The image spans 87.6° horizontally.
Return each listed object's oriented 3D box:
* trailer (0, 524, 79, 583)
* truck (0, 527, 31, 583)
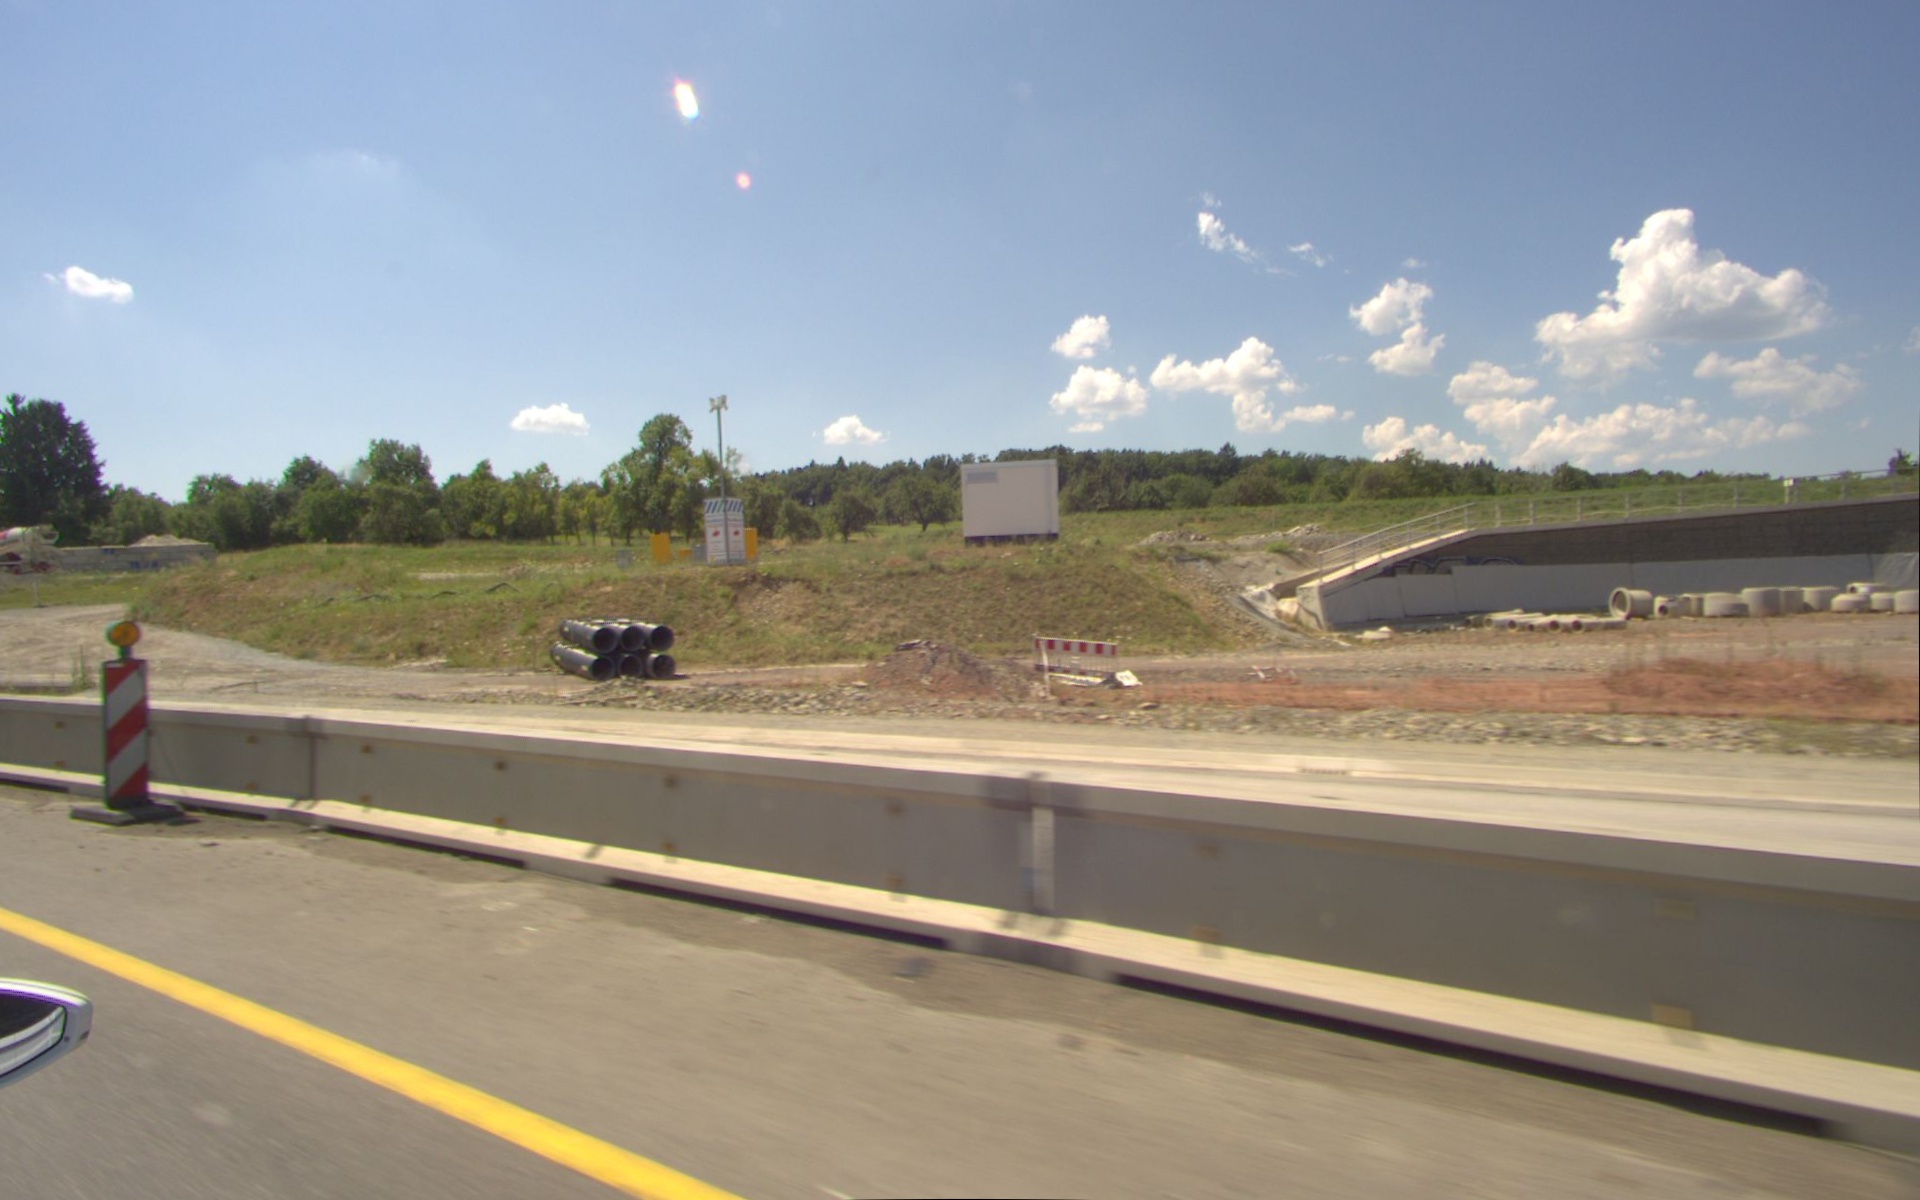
[{"bbox_3d":[-70.412,-3.441,75.475,6.621,4.169,2.761,-1,1,15],"label":"trailer"},{"bbox_3d":[-74.011,-3.387,76.411,4.025,4.150,2.750,-1,1,14],"label":"truck"}]
